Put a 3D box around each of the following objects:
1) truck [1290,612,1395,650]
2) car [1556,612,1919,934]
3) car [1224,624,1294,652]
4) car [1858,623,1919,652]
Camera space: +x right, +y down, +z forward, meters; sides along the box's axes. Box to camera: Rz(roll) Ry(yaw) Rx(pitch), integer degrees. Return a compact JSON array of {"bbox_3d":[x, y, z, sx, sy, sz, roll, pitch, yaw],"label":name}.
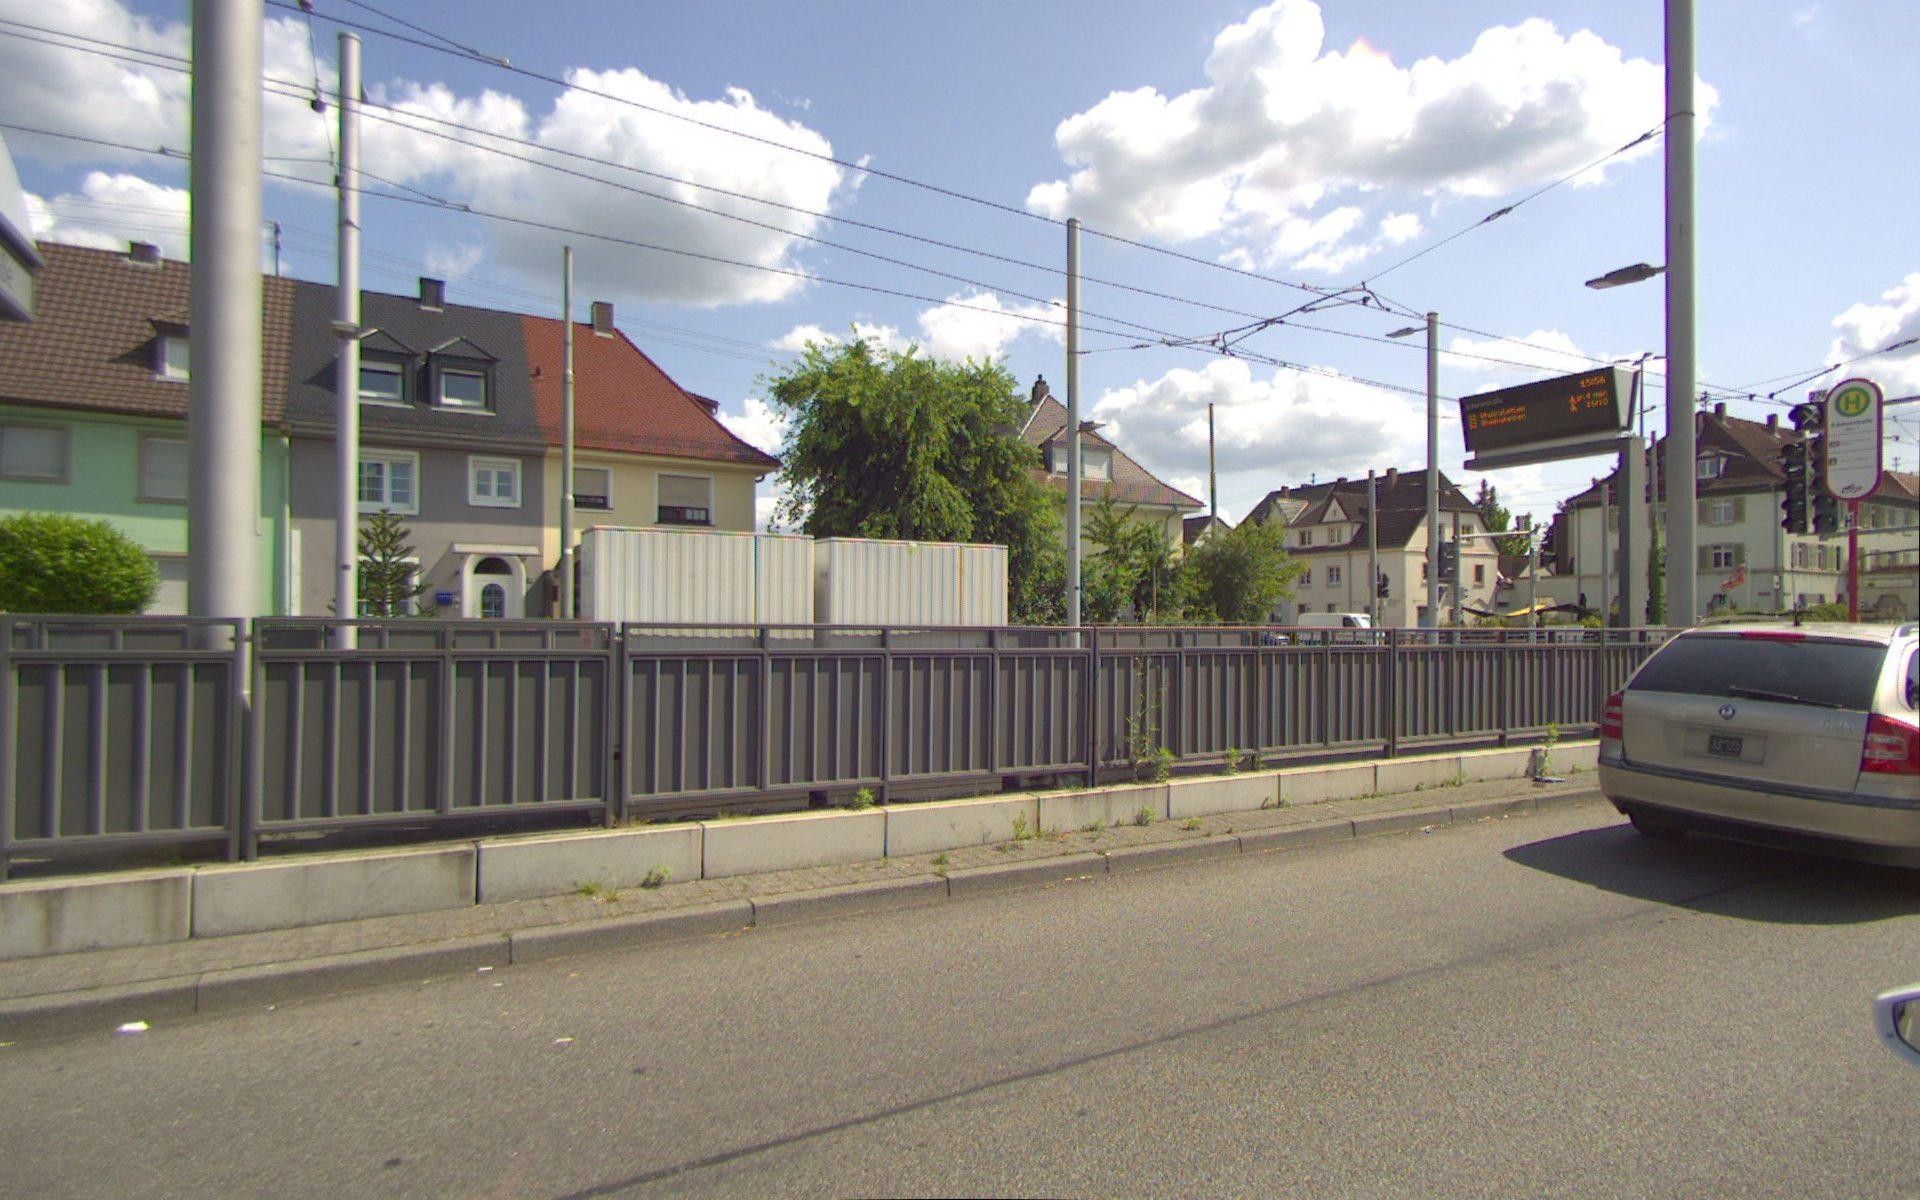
[{"bbox_3d":[21.863,1.733,57.770,1.668,1.947,6.163,2,0,-26],"label":"truck"},{"bbox_3d":[5.877,0.873,6.457,4.074,1.468,1.723,2,0,-30],"label":"car"},{"bbox_3d":[18.985,2.407,64.020,1.974,1.573,4.149,2,-1,-26],"label":"car"},{"bbox_3d":[47.753,1.921,51.006,4.288,1.369,1.679,2,0,-26],"label":"car"}]
